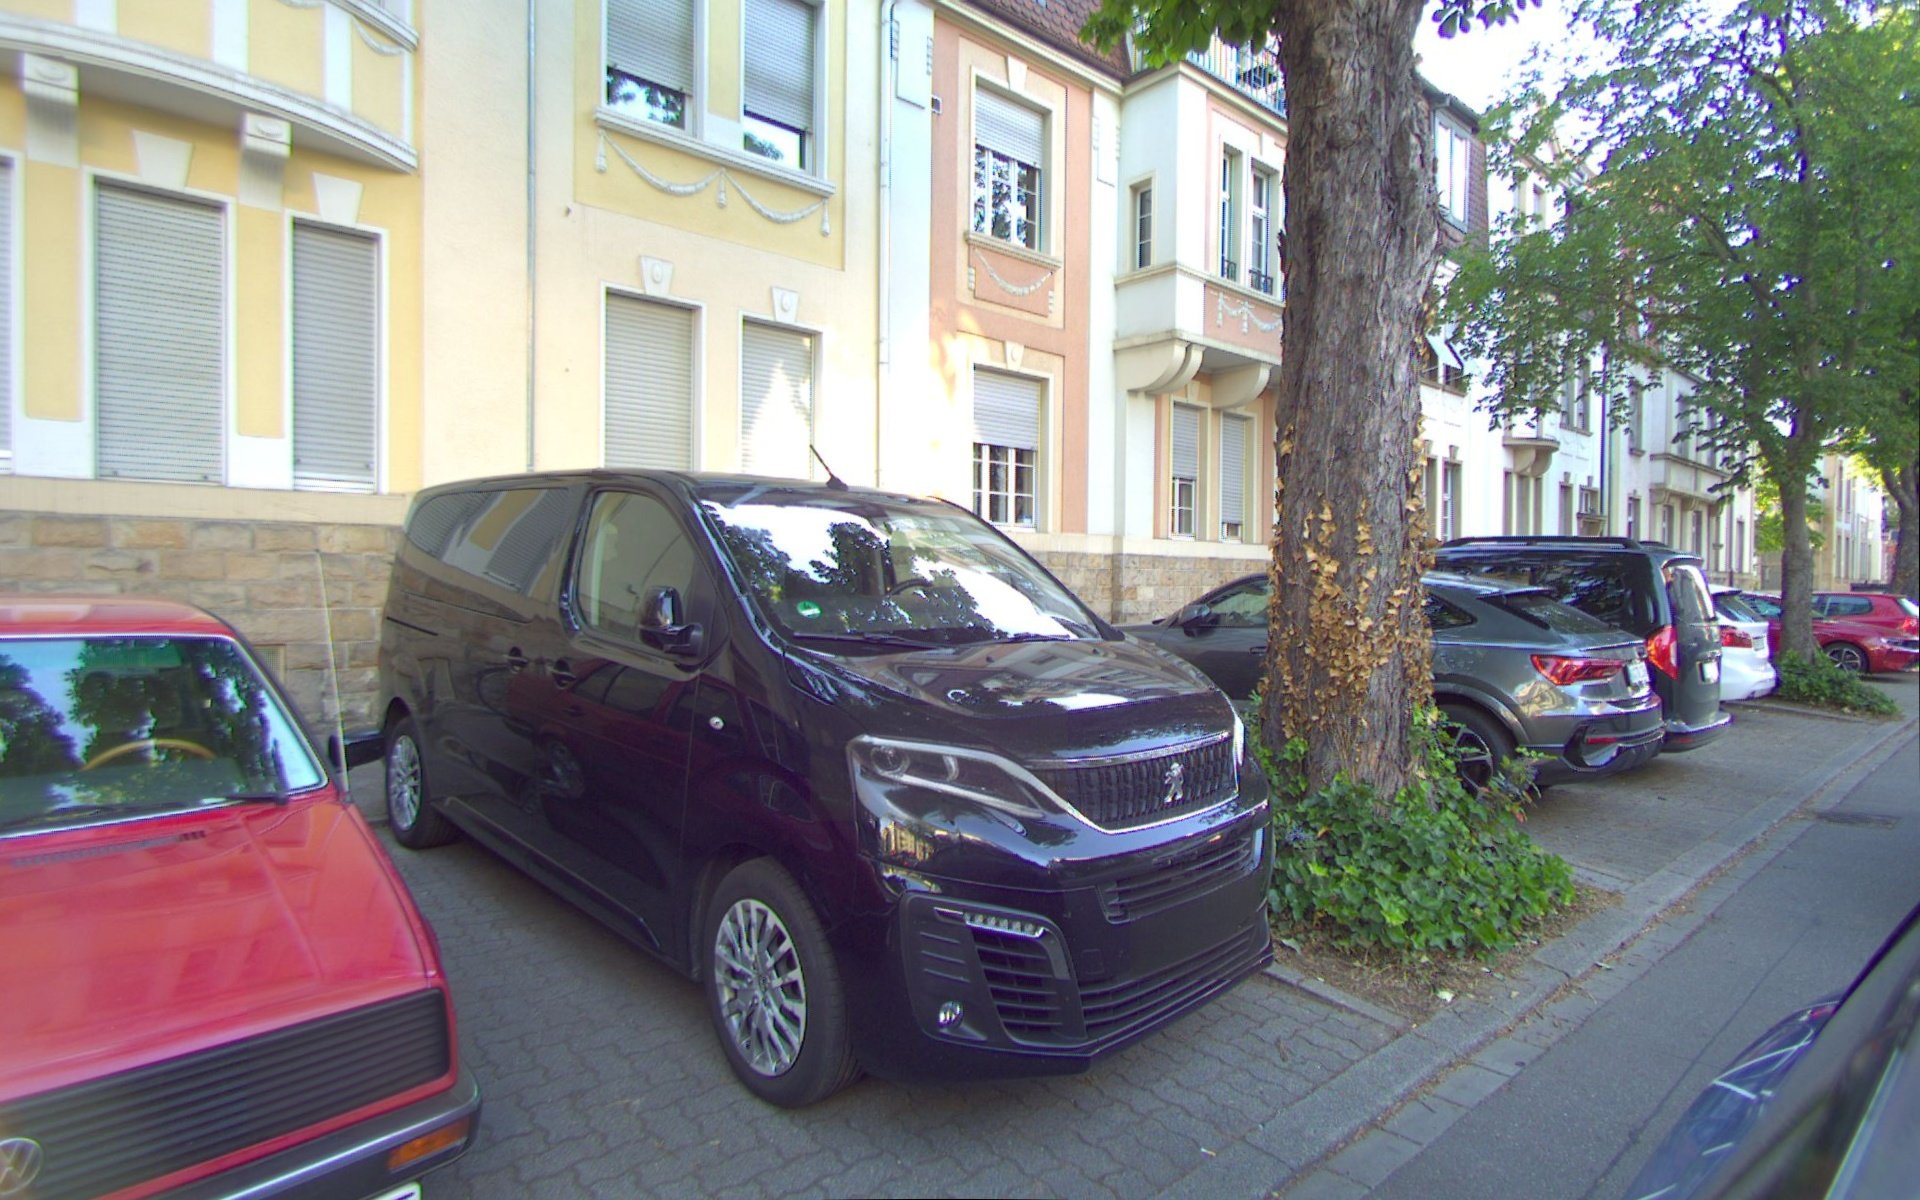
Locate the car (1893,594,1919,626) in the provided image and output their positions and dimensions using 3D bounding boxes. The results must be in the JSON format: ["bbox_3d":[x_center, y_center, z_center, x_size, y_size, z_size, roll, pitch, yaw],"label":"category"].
[{"bbox_3d":[34.276,0.386,34.532,1.515,1.076,3.399,0,3,-39],"label":"car"}]

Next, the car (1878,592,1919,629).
[{"bbox_3d":[31.895,0.386,32.469,1.515,1.164,3.399,0,3,-39],"label":"car"}]

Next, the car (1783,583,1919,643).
[{"bbox_3d":[24.005,0.326,26.413,1.548,1.416,3.681,0,3,-39],"label":"car"}]

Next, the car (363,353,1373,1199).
[{"bbox_3d":[-0.938,0.330,4.475,1.867,1.897,4.753,-1,3,-44],"label":"car"}]

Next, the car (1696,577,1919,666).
[{"bbox_3d":[16.896,0.359,19.819,1.628,1.499,3.682,0,2,-38],"label":"car"}]

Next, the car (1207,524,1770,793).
[{"bbox_3d":[4.520,0.313,9.145,1.814,1.860,4.116,0,3,-42],"label":"car"}]

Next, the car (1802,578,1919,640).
[{"bbox_3d":[25.871,0.238,28.033,1.548,1.576,3.681,0,3,-39],"label":"car"}]

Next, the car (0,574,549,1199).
[{"bbox_3d":[-2.873,0.633,3.034,1.603,1.332,4.139,-1,3,-44],"label":"car"}]

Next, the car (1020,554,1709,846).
[{"bbox_3d":[2.745,0.455,7.701,1.815,1.542,4.513,-1,3,-44],"label":"car"}]

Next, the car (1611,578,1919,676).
[{"bbox_3d":[14.786,0.388,18.463,1.833,1.470,4.533,0,3,-38],"label":"car"}]

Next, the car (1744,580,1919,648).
[{"bbox_3d":[21.853,0.303,24.975,1.548,1.484,3.681,0,3,-39],"label":"car"}]

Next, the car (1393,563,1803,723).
[{"bbox_3d":[7.704,0.382,12.525,1.689,1.597,3.948,0,3,-41],"label":"car"}]
